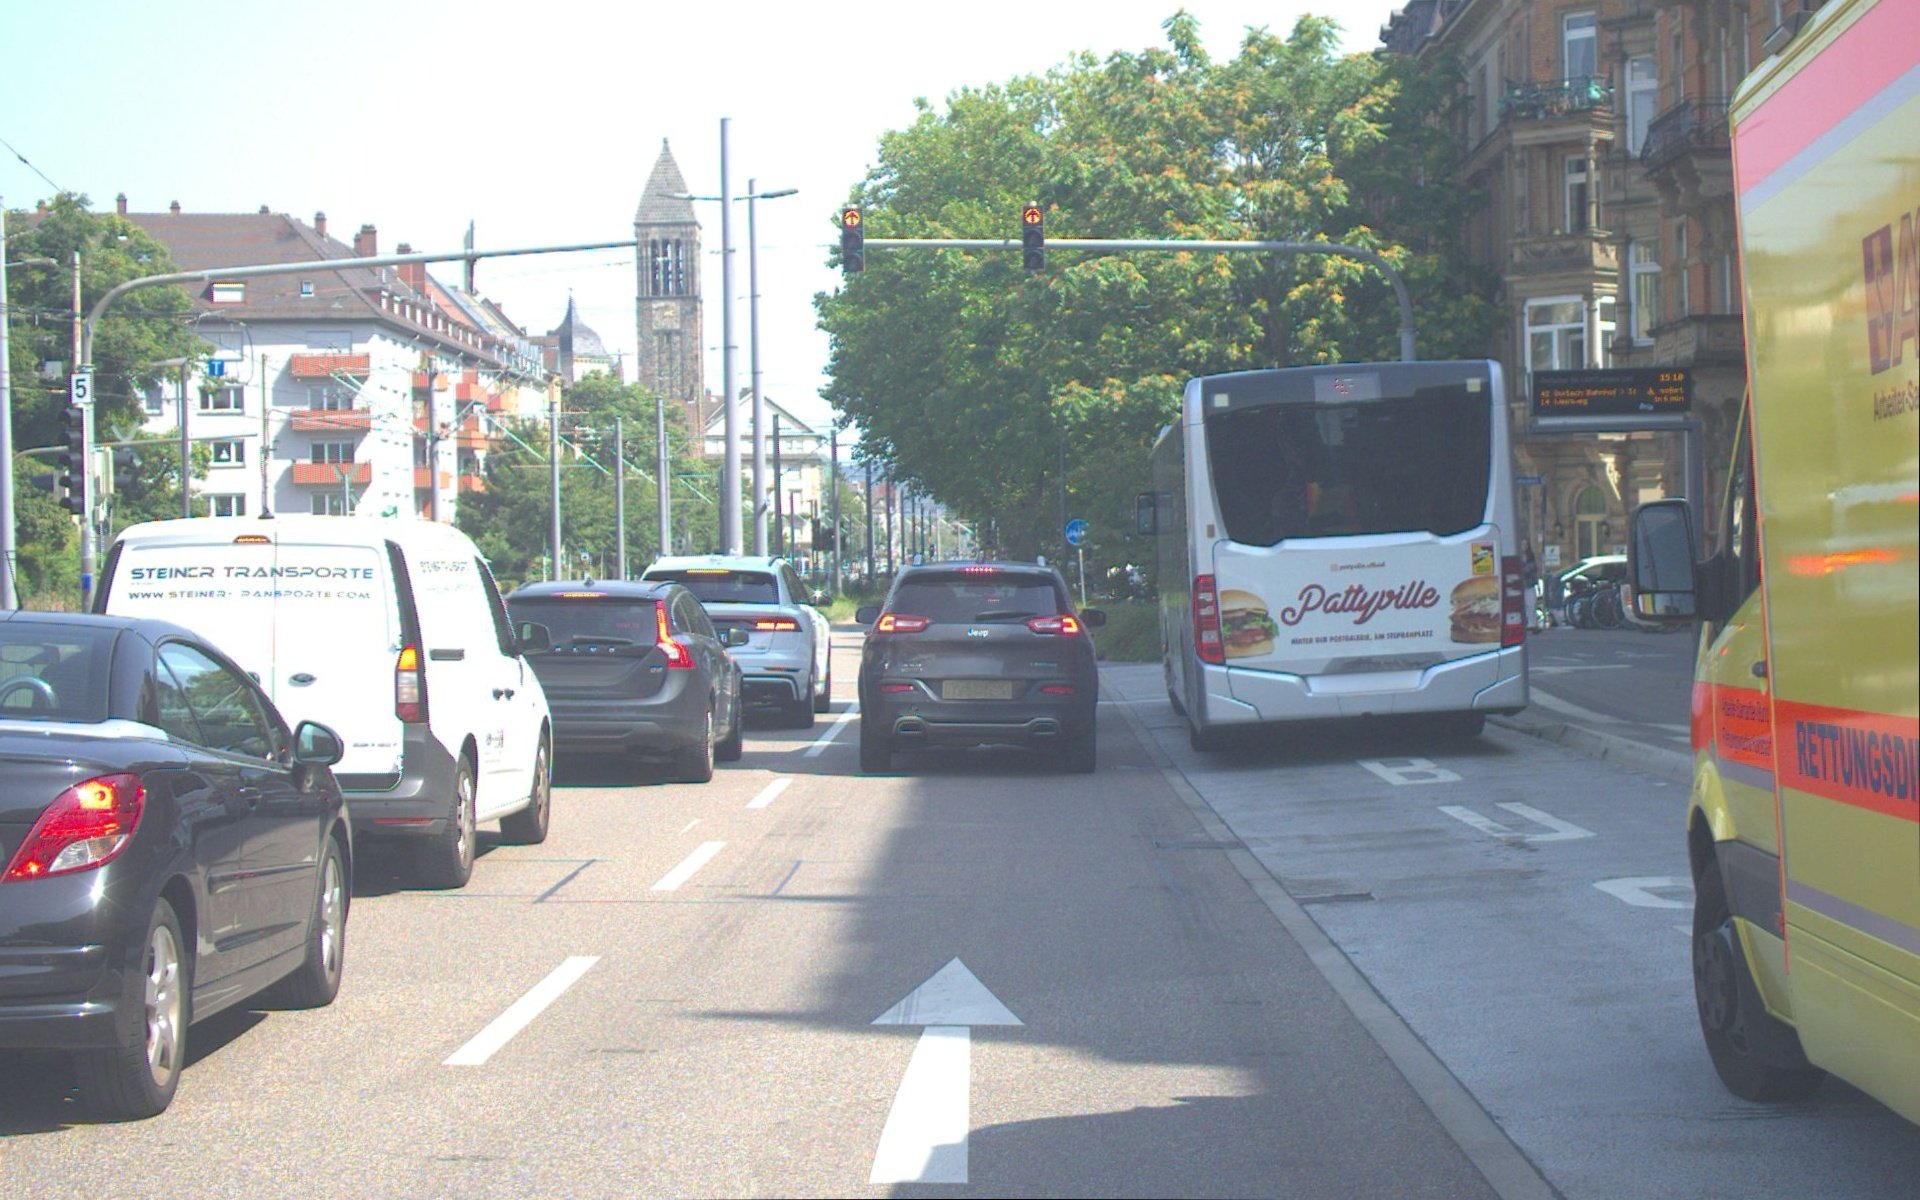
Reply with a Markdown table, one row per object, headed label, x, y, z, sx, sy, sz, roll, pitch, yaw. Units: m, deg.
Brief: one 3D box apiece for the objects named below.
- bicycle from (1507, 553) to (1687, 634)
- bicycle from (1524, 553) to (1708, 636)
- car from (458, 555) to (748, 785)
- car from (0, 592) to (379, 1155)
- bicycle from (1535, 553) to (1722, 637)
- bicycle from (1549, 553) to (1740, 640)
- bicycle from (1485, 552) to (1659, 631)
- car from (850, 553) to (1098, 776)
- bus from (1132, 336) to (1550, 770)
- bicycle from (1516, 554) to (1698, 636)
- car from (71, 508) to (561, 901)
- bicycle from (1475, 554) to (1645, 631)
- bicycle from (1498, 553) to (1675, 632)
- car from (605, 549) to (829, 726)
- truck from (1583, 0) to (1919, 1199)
| label | x | y | z | sx | sy | sz | roll | pitch | yaw |
| --- | --- | --- | --- | --- | --- | --- | --- | --- | --- |
| bicycle | 11.338 | -0.124 | 61.232 | 3.004 | 1.368 | 0.947 | -1 | 0 | 0 |
| bicycle | 11.312 | -0.097 | 59.341 | 2.993 | 1.366 | 0.871 | -1 | 0 | 0 |
| car | -2.647 | 0.466 | 26.331 | 1.747 | 1.609 | 4.308 | 0 | 1 | 0 |
| car | -2.972 | 0.694 | 10.685 | 1.688 | 1.409 | 3.801 | 0 | 0 | 0 |
| bicycle | 11.349 | -0.088 | 58.428 | 2.993 | 1.366 | 0.871 | -1 | 0 | 0 |
| bicycle | 11.442 | -0.064 | 57.521 | 2.993 | 1.366 | 0.871 | -1 | 0 | 0 |
| bicycle | 11.268 | -0.158 | 63.338 | 3.004 | 1.368 | 0.947 | -1 | 0 | 0 |
| car | 0.154 | 0.455 | 27.779 | 1.833 | 1.646 | 4.308 | 0 | 1 | 1 |
| bus | 3.151 | -0.406 | 31.766 | 2.743 | 3.096 | 11.955 | -3 | 0 | 2 |
| bicycle | 11.337 | -0.093 | 60.288 | 2.993 | 1.366 | 0.871 | -1 | 0 | 0 |
| car | -3.214 | 0.460 | 17.965 | 1.747 | 1.814 | 4.239 | 0 | 1 | 0 |
| bicycle | 11.280 | -0.148 | 64.656 | 3.004 | 1.368 | 0.947 | -1 | 0 | 0 |
| bicycle | 11.352 | -0.137 | 62.327 | 3.004 | 1.368 | 0.947 | -1 | 0 | 0 |
| car | -2.349 | 0.320 | 34.209 | 1.902 | 1.646 | 4.308 | 0 | 1 | 0 |
| truck | 2.960 | -0.047 | 7.406 | 2.328 | 2.760 | 6.337 | -3 | 0 | 4 |
